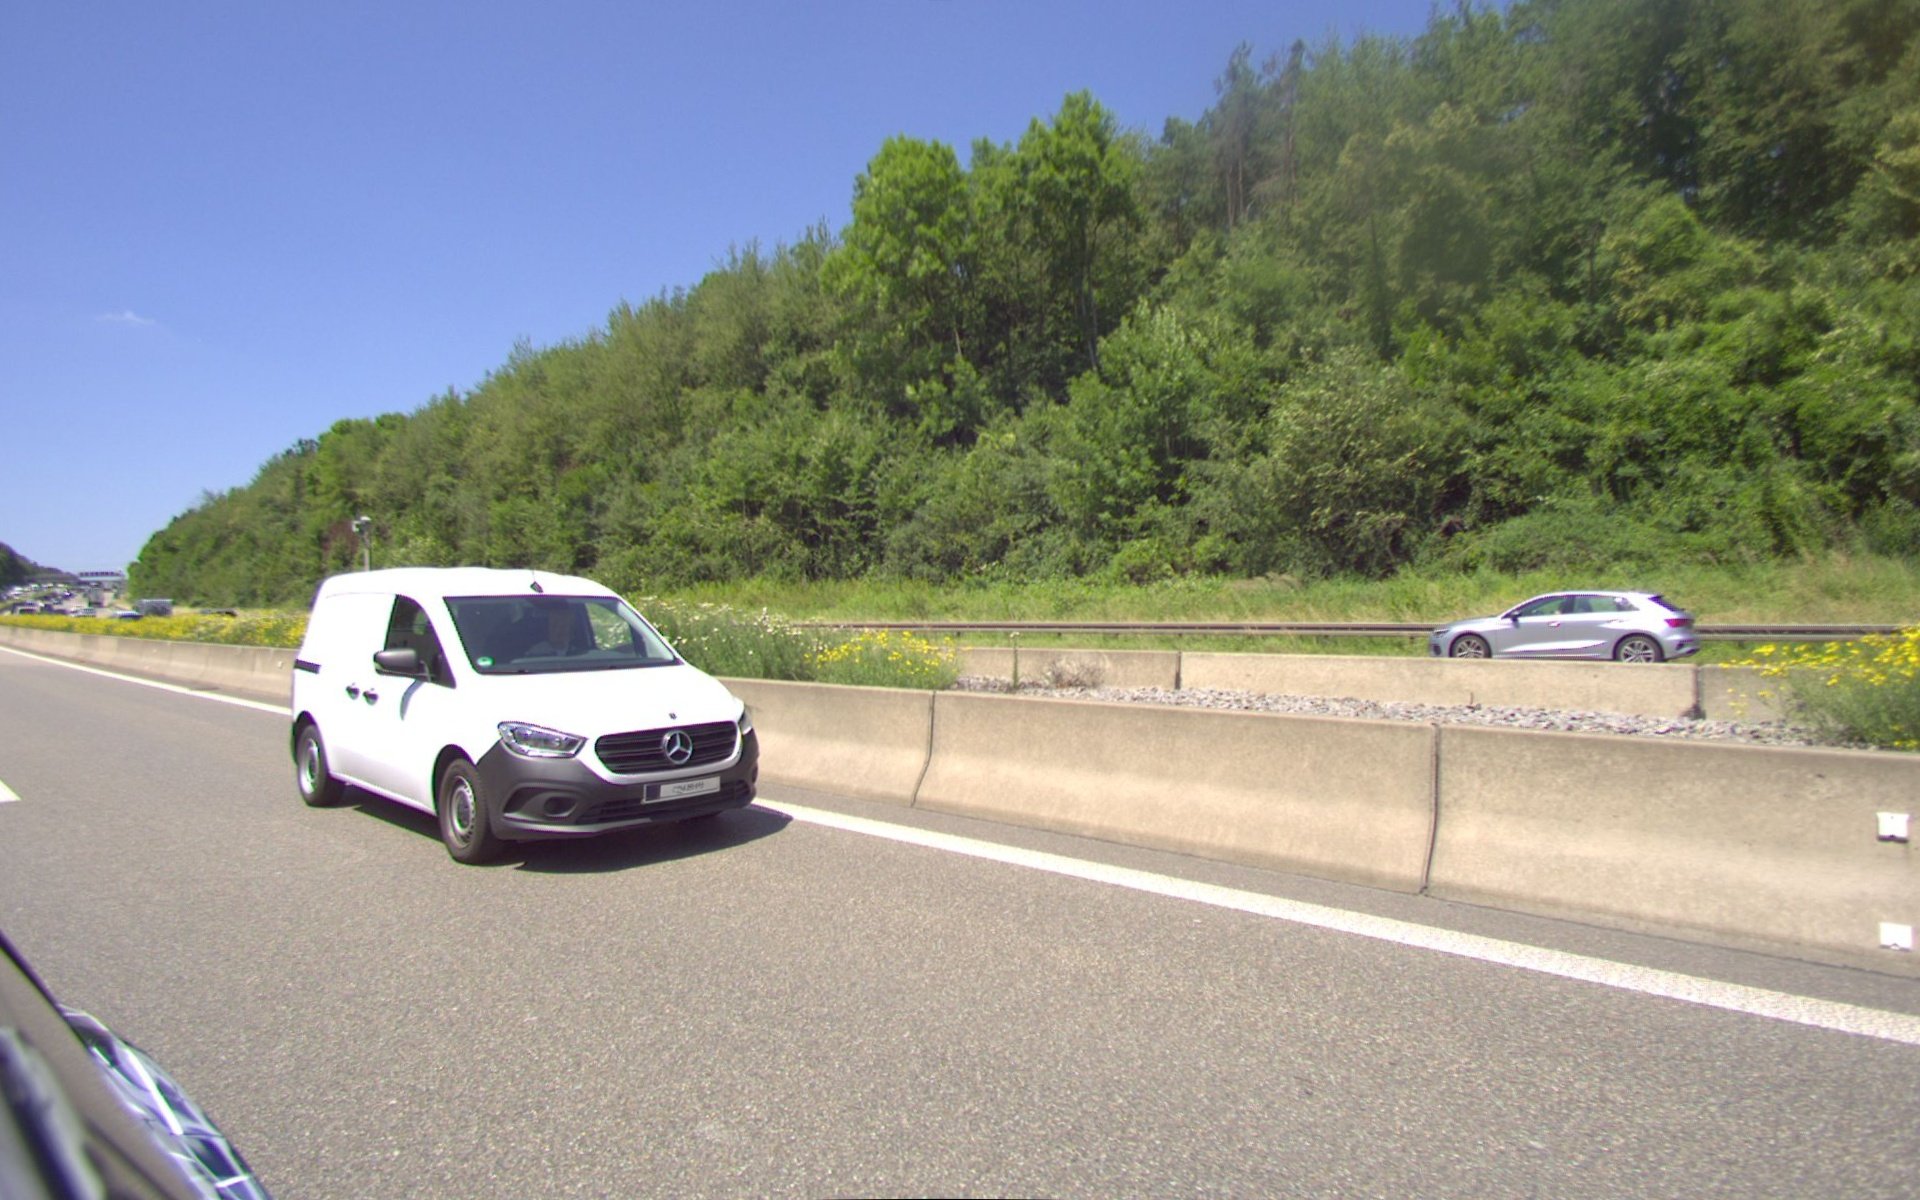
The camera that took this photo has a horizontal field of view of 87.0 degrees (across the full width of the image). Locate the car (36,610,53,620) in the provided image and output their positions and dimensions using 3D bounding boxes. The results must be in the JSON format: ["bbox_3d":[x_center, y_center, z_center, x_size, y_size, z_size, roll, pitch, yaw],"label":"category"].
[{"bbox_3d":[-158.779,2.599,175.513,4.002,1.497,1.971,0,0,45],"label":"car"}]

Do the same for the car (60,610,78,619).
[{"bbox_3d":[-151.484,2.373,172.067,4.173,1.453,1.971,0,0,44],"label":"car"}]

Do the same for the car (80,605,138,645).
[{"bbox_3d":[-45.652,1.285,54.274,4.001,2.029,1.971,0,0,44],"label":"car"}]

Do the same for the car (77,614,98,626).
[{"bbox_3d":[-120.772,2.773,140.054,1.970,1.629,4.487,0,-1,-44],"label":"car"}]

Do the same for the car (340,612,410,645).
[{"bbox_3d":[-28.332,1.345,48.981,3.999,1.467,1.769,0,0,42],"label":"car"}]

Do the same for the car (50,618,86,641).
[{"bbox_3d":[-61.549,2.029,69.802,3.563,1.453,1.462,0,0,42],"label":"car"}]

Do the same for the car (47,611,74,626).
[{"bbox_3d":[-108.257,2.190,121.748,4.401,1.703,1.972,0,0,43],"label":"car"}]

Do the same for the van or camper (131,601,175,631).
[{"bbox_3d":[-73.757,1.438,92.453,6.932,2.580,2.162,0,0,43],"label":"van or camper"}]

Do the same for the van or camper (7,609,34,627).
[{"bbox_3d":[-108.390,2.049,116.705,4.586,2.029,1.863,0,0,41],"label":"van or camper"}]

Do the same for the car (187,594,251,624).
[{"bbox_3d":[-40.300,0.462,55.039,4.161,1.602,1.973,0,0,41],"label":"car"}]

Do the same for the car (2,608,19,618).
[{"bbox_3d":[-157.670,2.148,168.055,1.970,1.484,4.878,0,0,-43],"label":"car"}]

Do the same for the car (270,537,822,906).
[{"bbox_3d":[-3.192,0.626,7.219,4.671,1.826,1.746,-1,-1,41],"label":"car"}]

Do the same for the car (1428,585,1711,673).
[{"bbox_3d":[11.129,0.504,18.629,4.189,1.443,1.973,-1,-1,41],"label":"car"}]
